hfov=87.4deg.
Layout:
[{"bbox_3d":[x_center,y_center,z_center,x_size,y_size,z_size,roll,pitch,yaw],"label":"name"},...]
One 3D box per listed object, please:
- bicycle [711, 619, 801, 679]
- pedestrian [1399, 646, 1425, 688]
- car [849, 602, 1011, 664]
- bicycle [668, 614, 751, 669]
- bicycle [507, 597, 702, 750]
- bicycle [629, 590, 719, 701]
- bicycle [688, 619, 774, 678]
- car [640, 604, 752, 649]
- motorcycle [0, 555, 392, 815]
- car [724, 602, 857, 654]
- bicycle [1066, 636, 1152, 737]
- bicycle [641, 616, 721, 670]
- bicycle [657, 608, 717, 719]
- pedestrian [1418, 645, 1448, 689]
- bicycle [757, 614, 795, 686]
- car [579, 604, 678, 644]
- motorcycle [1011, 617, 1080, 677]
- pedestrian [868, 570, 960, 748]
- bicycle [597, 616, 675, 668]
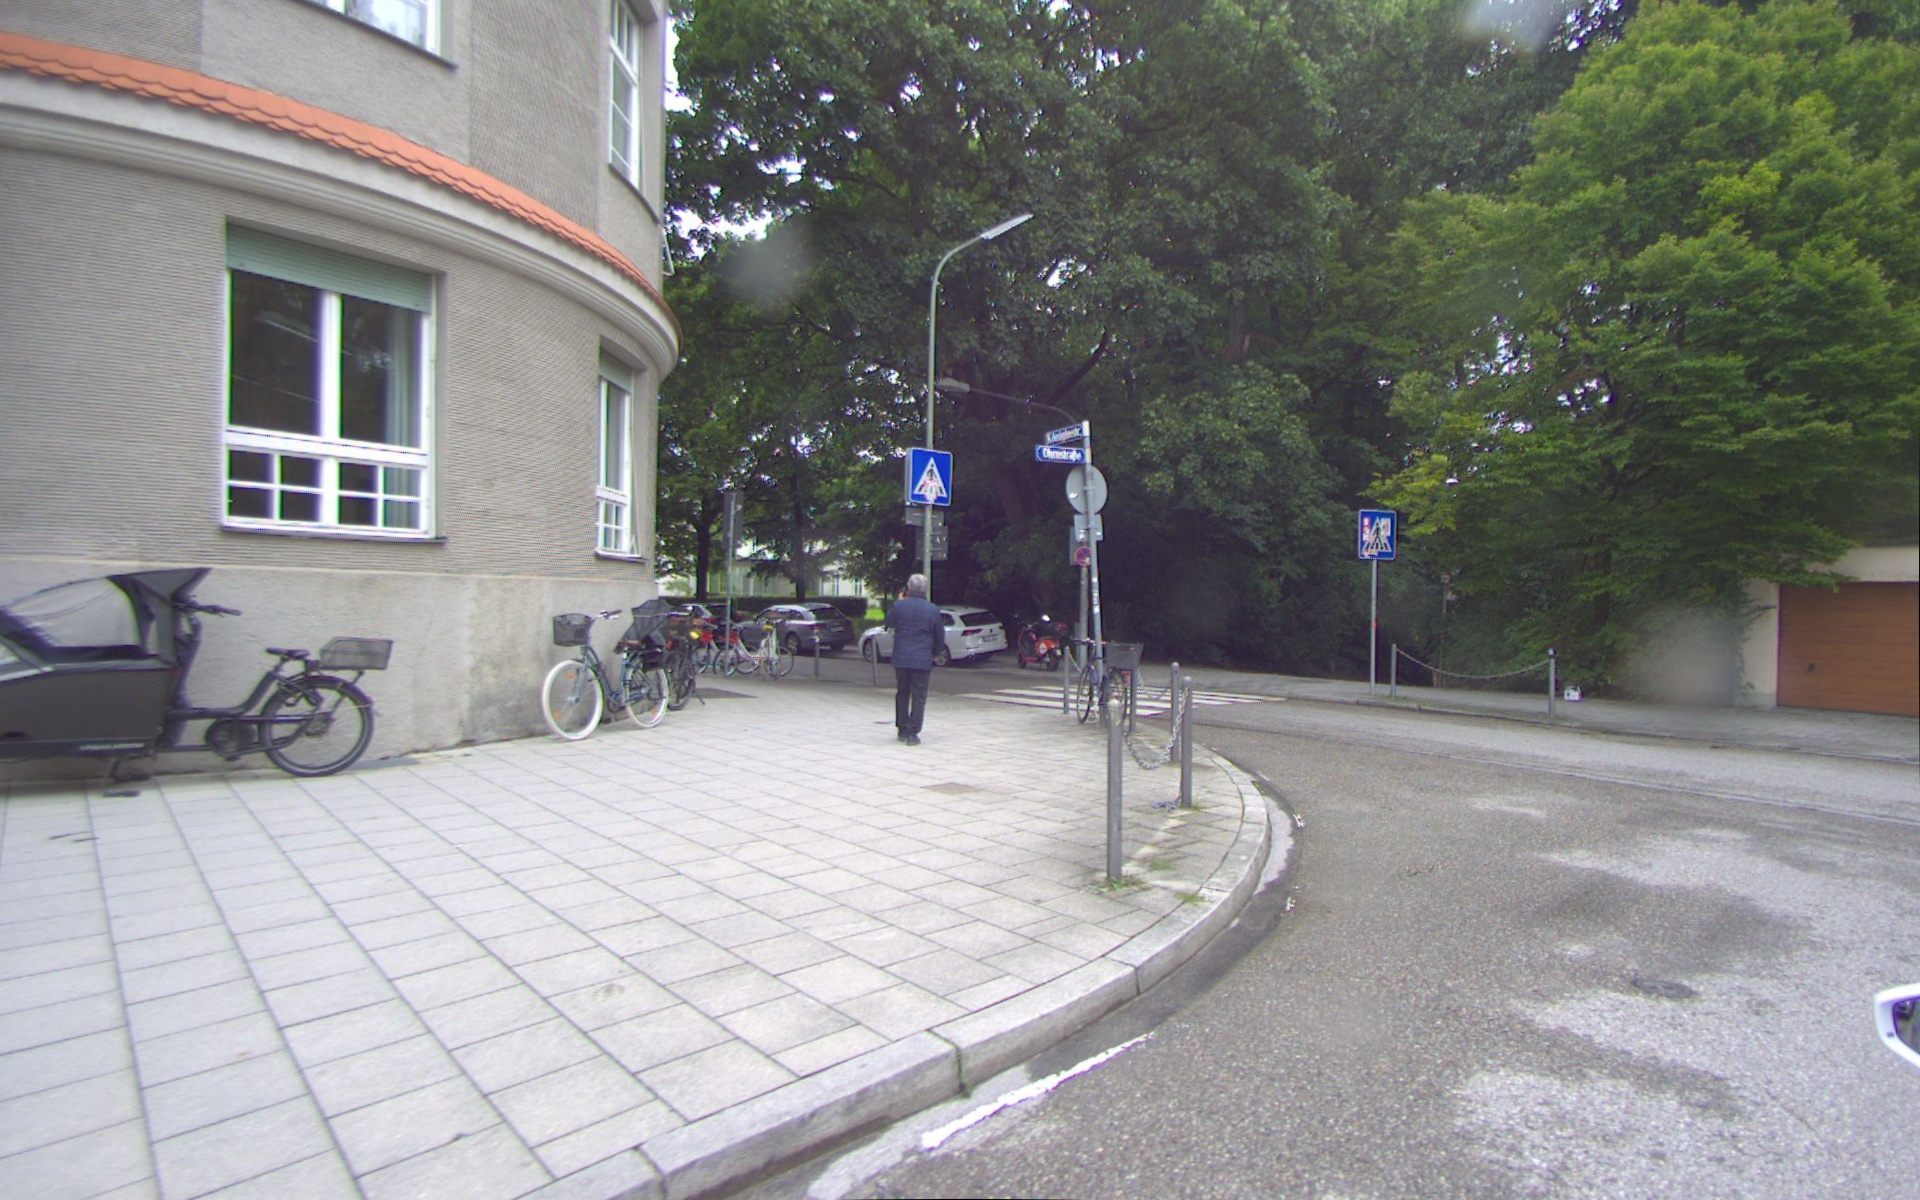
[{"bbox_3d":[-4.111,0.981,20.315,1.687,1.162,0.508,2,0,-28],"label":"bicycle"},{"bbox_3d":[13.118,1.947,29.157,0.492,1.171,0.467,1,0,-37],"label":"pedestrian"},{"bbox_3d":[-0.863,0.821,26.458,4.372,1.468,1.616,1,0,43],"label":"car"},{"bbox_3d":[-5.465,0.909,21.909,1.663,1.162,0.508,2,0,-28],"label":"bicycle"},{"bbox_3d":[-3.289,0.630,9.520,0.723,1.273,1.927,2,0,16],"label":"bicycle"},{"bbox_3d":[-4.024,0.590,14.035,0.730,1.432,1.910,1,0,-30],"label":"bicycle"},{"bbox_3d":[-4.727,0.994,20.759,1.663,1.162,0.463,2,0,-28],"label":"bicycle"},{"bbox_3d":[-9.370,0.907,35.488,4.454,1.451,1.767,1,0,44],"label":"car"},{"bbox_3d":[-4.997,0.489,6.536,2.133,1.460,0.728,1,0,-45],"label":"motorcycle"},{"bbox_3d":[-5.304,0.815,31.112,4.454,1.451,1.767,1,0,44],"label":"car"},{"bbox_3d":[1.736,0.985,11.982,0.502,1.023,2.006,2,0,-6],"label":"bicycle"},{"bbox_3d":[-6.305,0.971,22.714,1.663,1.162,0.508,2,0,-28],"label":"bicycle"},{"bbox_3d":[-3.281,0.714,12.063,0.556,1.172,1.920,5,-1,-16],"label":"bicycle"},{"bbox_3d":[13.525,1.908,28.711,0.492,1.184,0.581,1,0,-37],"label":"pedestrian"},{"bbox_3d":[-3.229,0.852,17.715,0.502,1.162,1.682,2,0,-6],"label":"bicycle"},{"bbox_3d":[-12.877,0.895,38.892,4.454,1.451,1.767,1,0,44],"label":"car"},{"bbox_3d":[1.921,1.040,22.884,0.846,1.200,1.997,-2,1,-18],"label":"motorcycle"},{"bbox_3d":[-0.468,0.557,9.824,0.798,1.663,0.725,2,0,-8],"label":"pedestrian"},{"bbox_3d":[-7.569,0.985,23.475,1.663,1.162,0.508,2,0,-28],"label":"bicycle"}]
